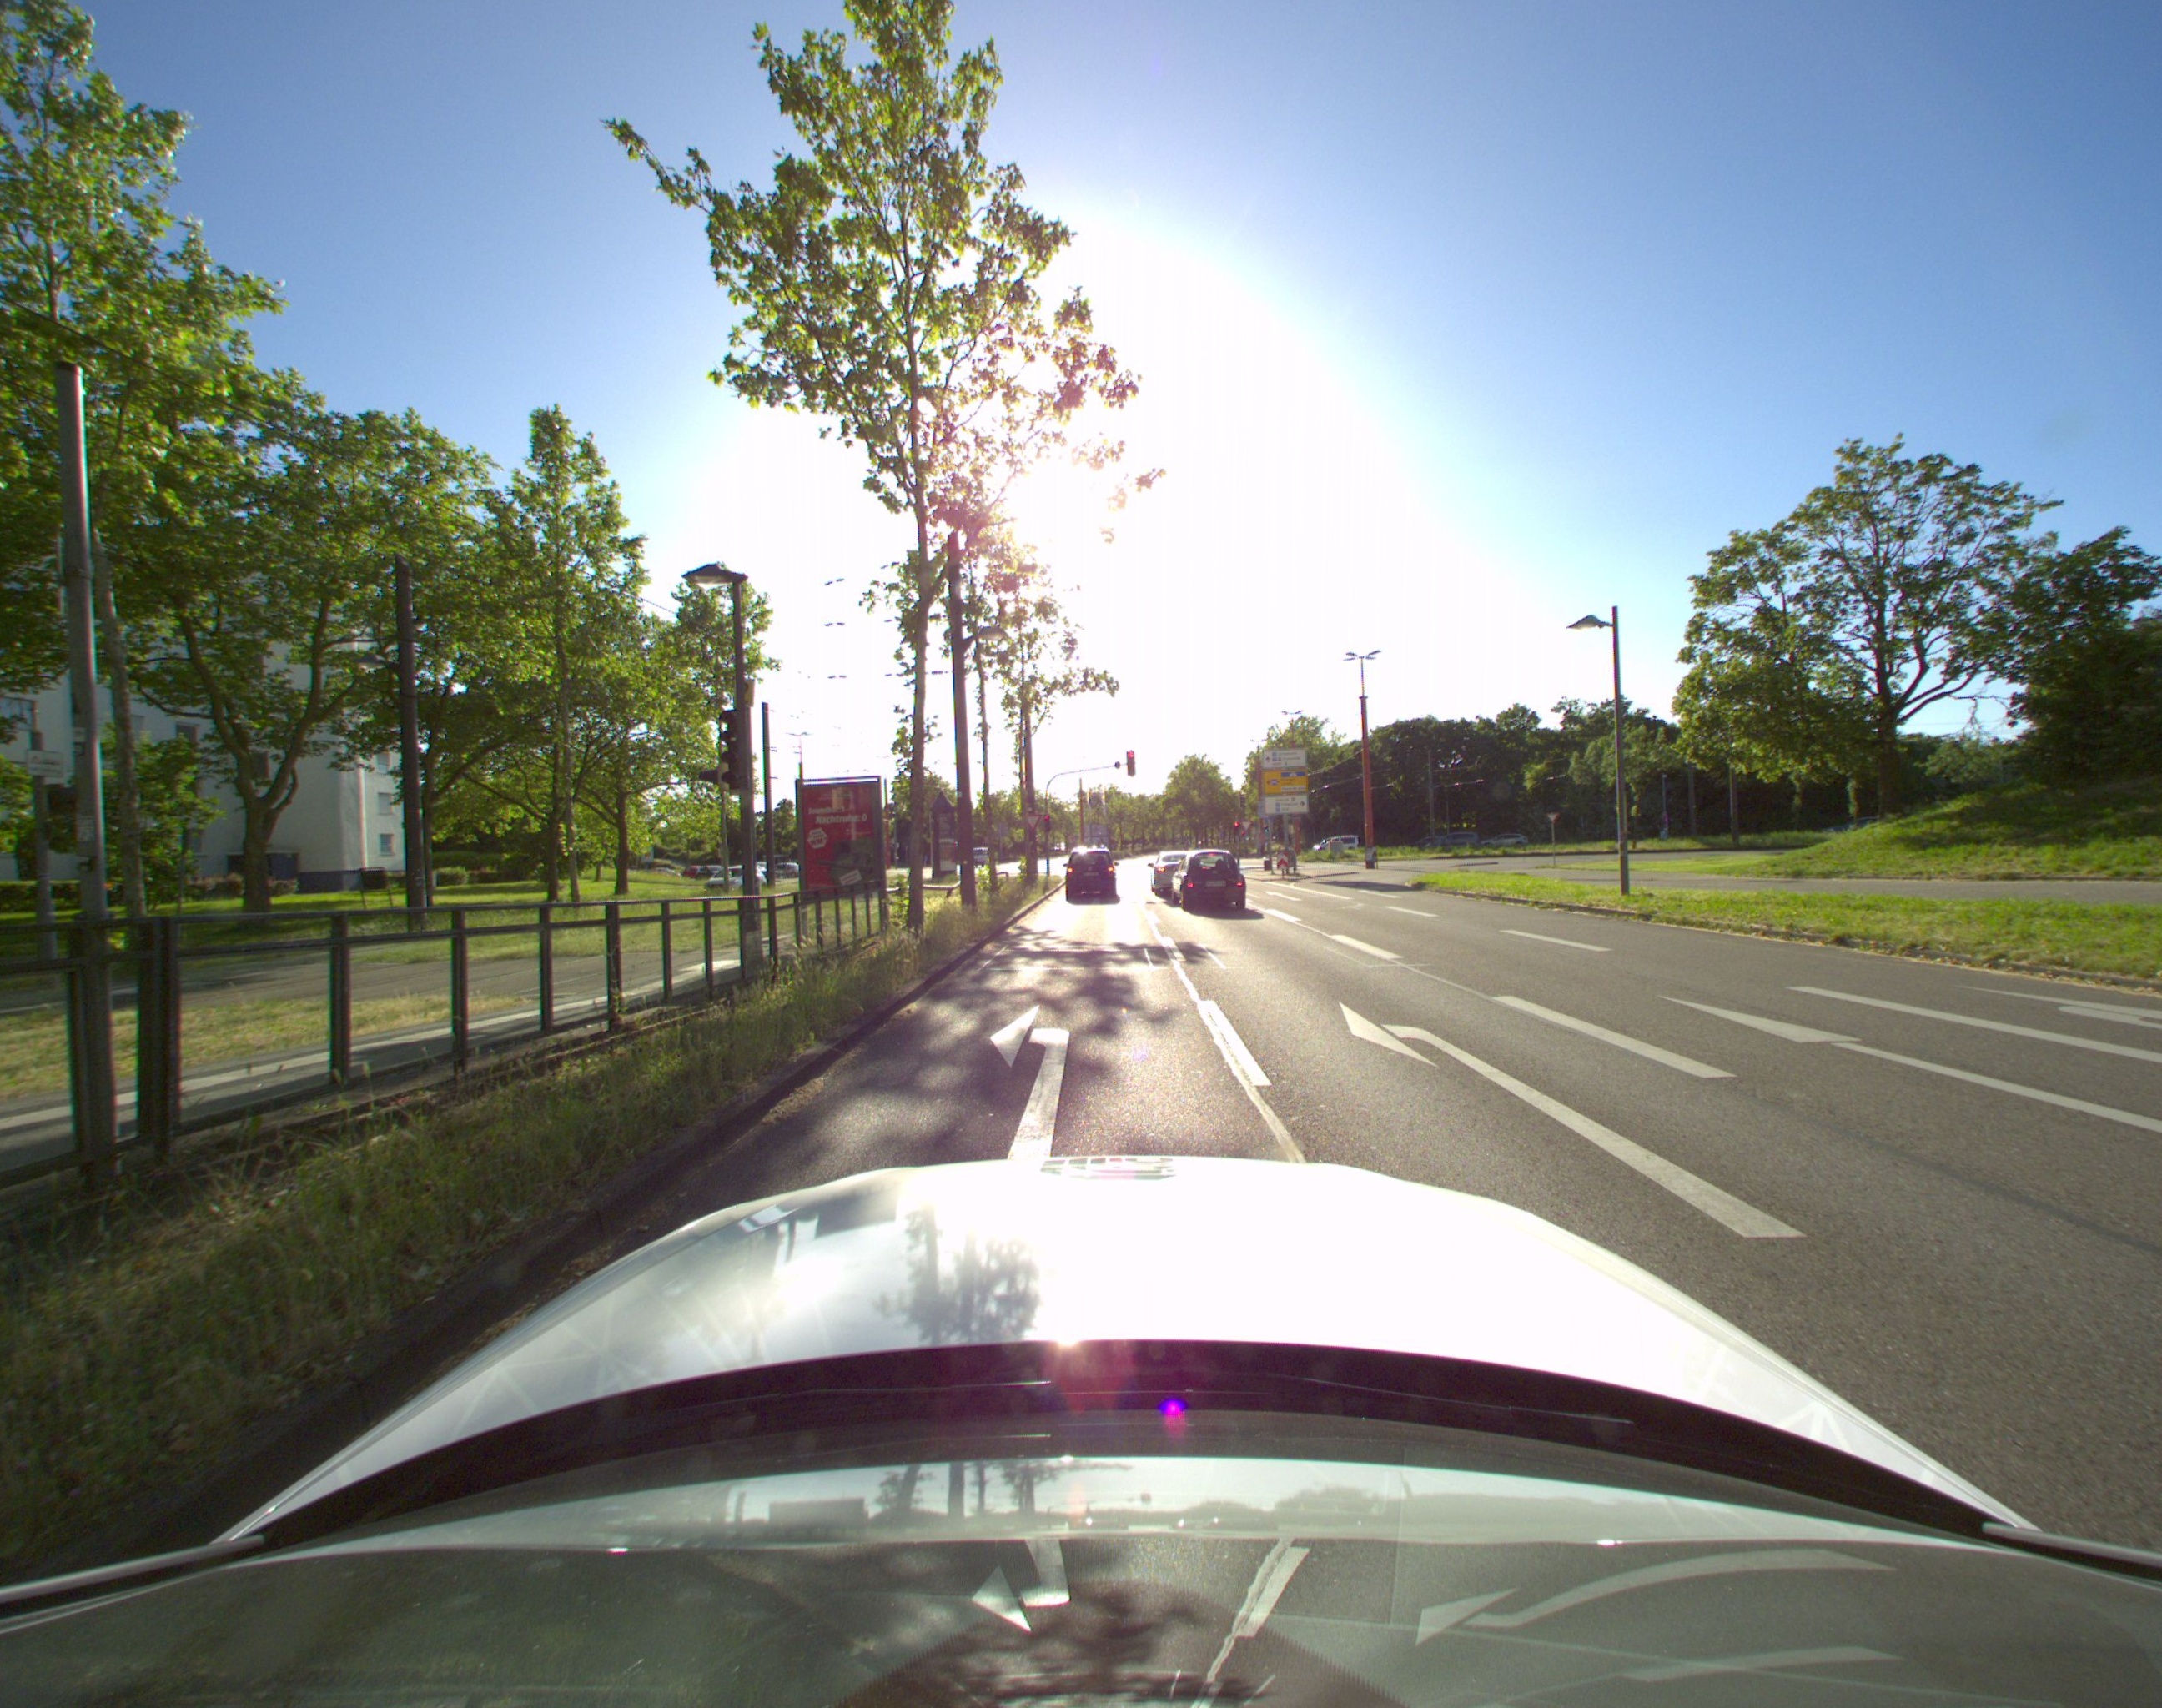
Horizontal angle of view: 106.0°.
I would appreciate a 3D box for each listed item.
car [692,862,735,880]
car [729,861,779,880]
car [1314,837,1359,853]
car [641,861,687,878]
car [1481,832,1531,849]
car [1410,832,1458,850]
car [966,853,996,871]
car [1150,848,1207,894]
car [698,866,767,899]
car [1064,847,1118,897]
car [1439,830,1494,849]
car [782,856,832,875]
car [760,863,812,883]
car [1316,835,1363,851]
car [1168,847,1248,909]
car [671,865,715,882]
[{"bbox_3d":[-34.818,1.606,77.116,4.442,1.543,1.912,-1,0,39],"label":"car"},{"bbox_3d":[-33.267,1.697,82.897,4.447,1.610,1.910,-3,2,20],"label":"car"},{"bbox_3d":[25.270,-0.902,80.531,3.950,1.476,1.800,-1,0,27],"label":"car"},{"bbox_3d":[-46.275,1.736,90.358,4.448,1.610,1.910,-1,3,20],"label":"car"},{"bbox_3d":[38.309,-1.204,73.410,3.949,1.495,1.872,-1,0,28],"label":"car"},{"bbox_3d":[33.047,-1.243,76.332,3.949,1.561,1.911,-1,0,28],"label":"car"},{"bbox_3d":[-10.663,0.826,87.005,1.812,1.780,4.580,-1,0,10],"label":"car"},{"bbox_3d":[3.363,0.564,28.753,1.672,1.475,4.133,-1,0,2],"label":"car"},{"bbox_3d":[-16.779,1.325,39.430,1.625,1.449,3.719,-1,0,1],"label":"car"},{"bbox_3d":[0.343,0.591,28.240,1.704,1.603,3.350,-1,0,0],"label":"car"},{"bbox_3d":[34.125,-1.276,72.150,4.311,1.559,1.883,-1,0,26],"label":"car"},{"bbox_3d":[-27.995,1.129,83.275,4.447,1.610,1.910,-3,2,20],"label":"car"},{"bbox_3d":[-28.953,1.890,79.946,4.447,1.610,1.910,-3,2,20],"label":"car"},{"bbox_3d":[24.532,-1.041,77.325,3.949,1.338,1.739,-1,0,27],"label":"car"},{"bbox_3d":[3.371,0.594,22.161,1.633,1.494,3.504,-1,1,1],"label":"car"},{"bbox_3d":[-40.989,2.042,86.121,4.000,1.436,1.825,-3,2,20],"label":"car"}]
